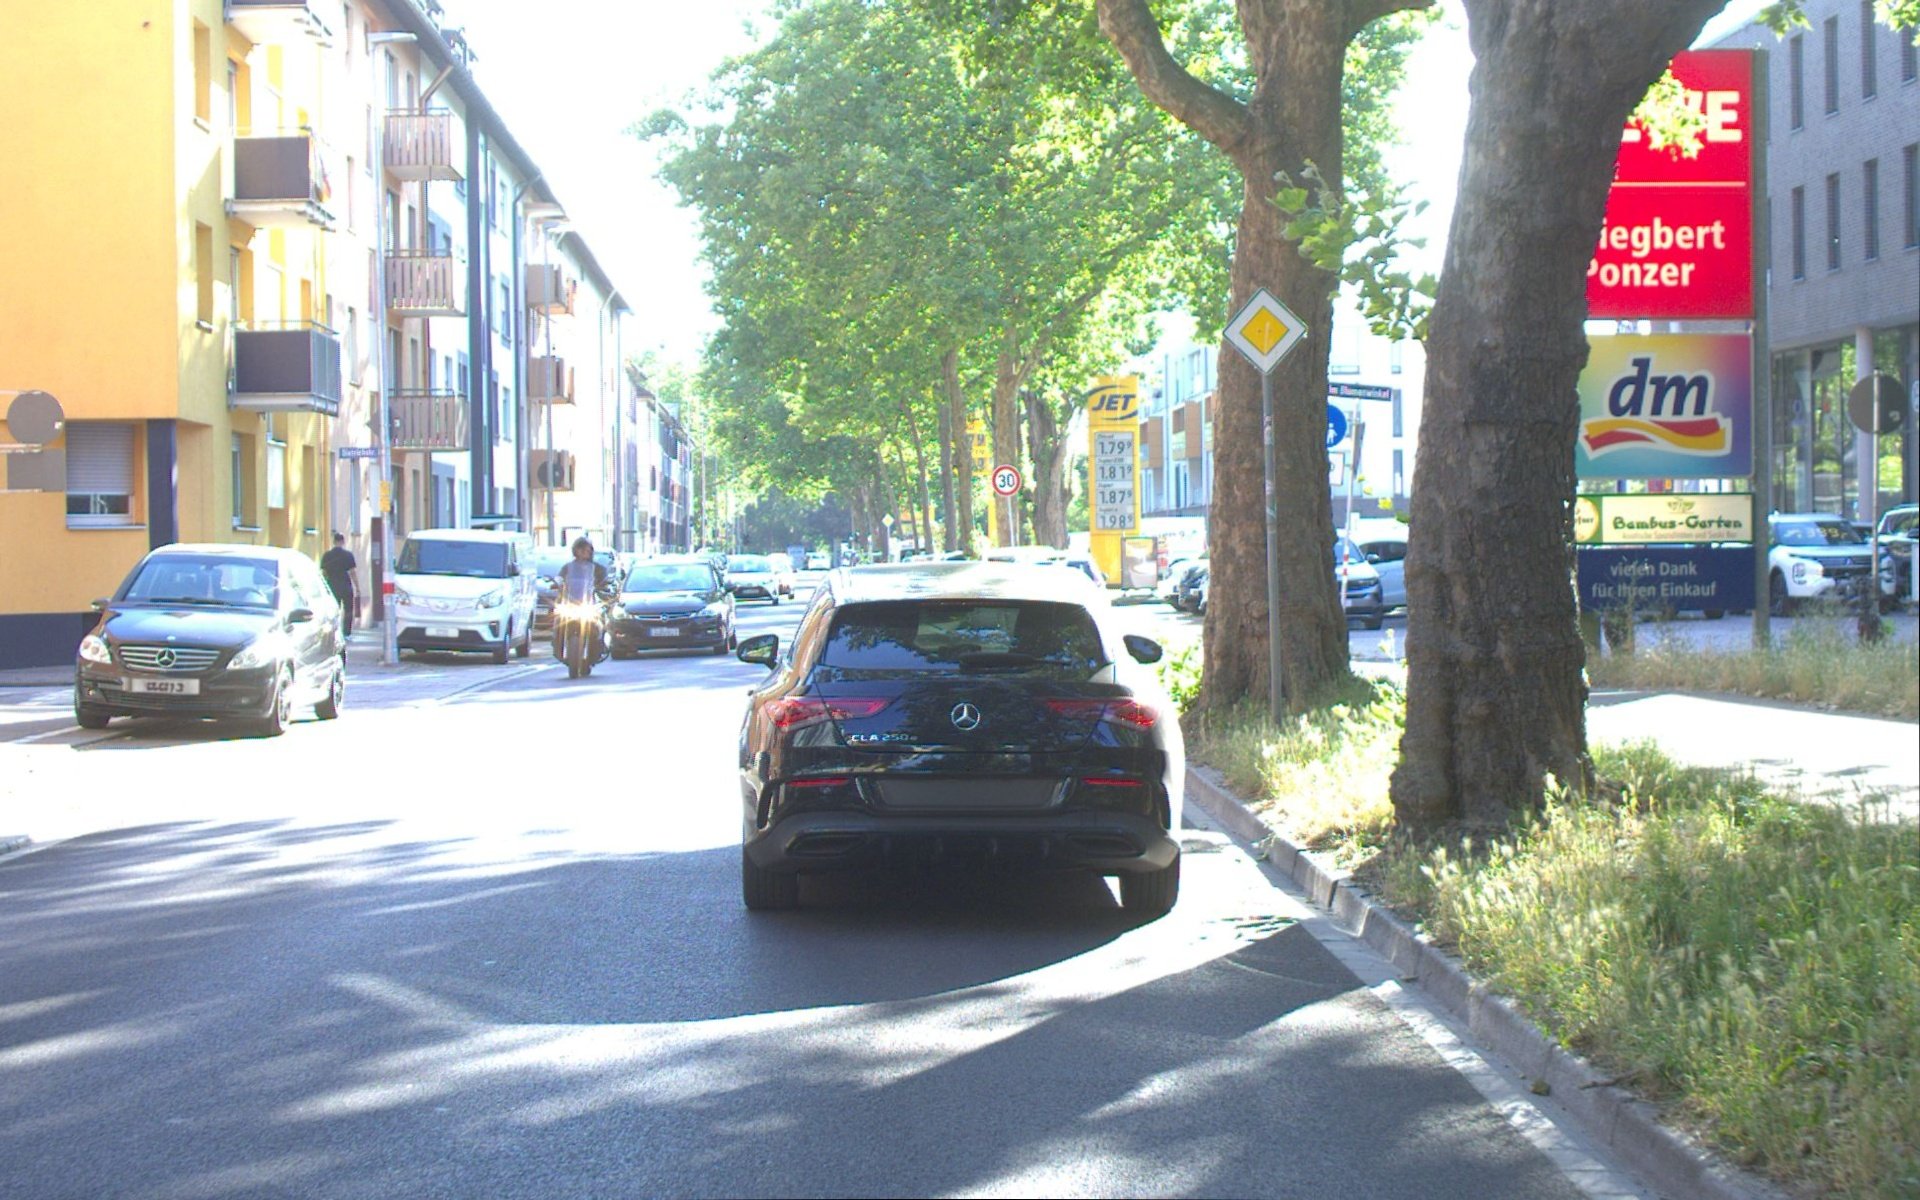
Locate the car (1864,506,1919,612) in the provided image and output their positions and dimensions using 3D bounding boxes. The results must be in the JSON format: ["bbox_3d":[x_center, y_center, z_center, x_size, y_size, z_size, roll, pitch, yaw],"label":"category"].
[{"bbox_3d":[16.731,-0.705,57.637,1.985,1.727,4.181,-1,1,-1],"label":"car"}]

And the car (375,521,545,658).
[{"bbox_3d":[-7.289,-0.184,50.592,1.734,1.900,5.209,0,1,0],"label":"car"}]

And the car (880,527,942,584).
[{"bbox_3d":[-1.830,-1.646,127.617,1.993,2.007,4.000,0,-1,-5],"label":"car"}]

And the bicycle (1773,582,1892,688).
[{"bbox_3d":[8.434,0.327,33.278,0.382,1.000,1.487,-1,1,-18],"label":"bicycle"}]

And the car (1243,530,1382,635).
[{"bbox_3d":[5.859,-0.314,57.576,1.752,1.664,4.158,-1,1,-2],"label":"car"}]

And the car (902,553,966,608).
[{"bbox_3d":[-0.788,-0.576,102.320,1.722,1.552,3.601,1,0,-3],"label":"car"}]

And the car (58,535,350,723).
[{"bbox_3d":[-6.617,0.211,30.469,1.678,1.518,4.021,1,1,0],"label":"car"}]

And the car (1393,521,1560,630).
[{"bbox_3d":[8.575,-0.433,57.422,1.825,1.726,4.369,-1,1,-4],"label":"car"}]

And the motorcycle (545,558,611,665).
[{"bbox_3d":[-4.605,0.126,41.561,0.547,1.237,2.264,-3,0,-2],"label":"motorcycle"}]

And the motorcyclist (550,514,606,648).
[{"bbox_3d":[-4.615,-0.235,41.599,0.585,1.600,0.831,-1,1,-2],"label":"motorcyclist"}]

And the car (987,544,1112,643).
[{"bbox_3d":[1.397,-0.107,54.822,1.635,1.463,4.021,-2,0,-3],"label":"car"}]

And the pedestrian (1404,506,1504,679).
[{"bbox_3d":[5.142,-0.080,35.806,0.767,1.755,0.664,-3,1,-13],"label":"pedestrian"}]

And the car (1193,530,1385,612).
[{"bbox_3d":[6.871,-0.620,71.621,3.808,1.573,1.746,-3,2,-39],"label":"car"}]

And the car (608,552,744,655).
[{"bbox_3d":[-4.309,0.018,52.615,1.771,1.473,4.322,-1,1,-1],"label":"car"}]

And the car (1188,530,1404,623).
[{"bbox_3d":[6.293,-0.456,64.254,3.808,1.604,1.741,-3,2,-37],"label":"car"}]

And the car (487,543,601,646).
[{"bbox_3d":[-7.601,-0.128,63.104,1.745,1.781,4.550,1,1,-3],"label":"car"}]

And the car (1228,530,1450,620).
[{"bbox_3d":[6.817,-0.463,61.708,3.807,1.540,1.662,-1,1,-35],"label":"car"}]

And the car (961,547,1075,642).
[{"bbox_3d":[0.996,-0.107,61.648,1.810,1.533,4.583,-3,0,-1],"label":"car"}]

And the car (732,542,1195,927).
[{"bbox_3d":[-0.042,0.485,15.123,1.744,1.438,3.969,1,1,-2],"label":"car"}]

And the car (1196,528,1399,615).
[{"bbox_3d":[6.644,-0.568,67.529,3.808,1.573,1.741,-3,2,-39],"label":"car"}]

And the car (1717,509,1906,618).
[{"bbox_3d":[14.239,-0.620,57.729,1.875,1.727,4.181,-1,1,-4],"label":"car"}]

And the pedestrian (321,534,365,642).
[{"bbox_3d":[-10.251,-0.202,57.119,0.587,1.784,0.642,-1,1,-1],"label":"pedestrian"}]
